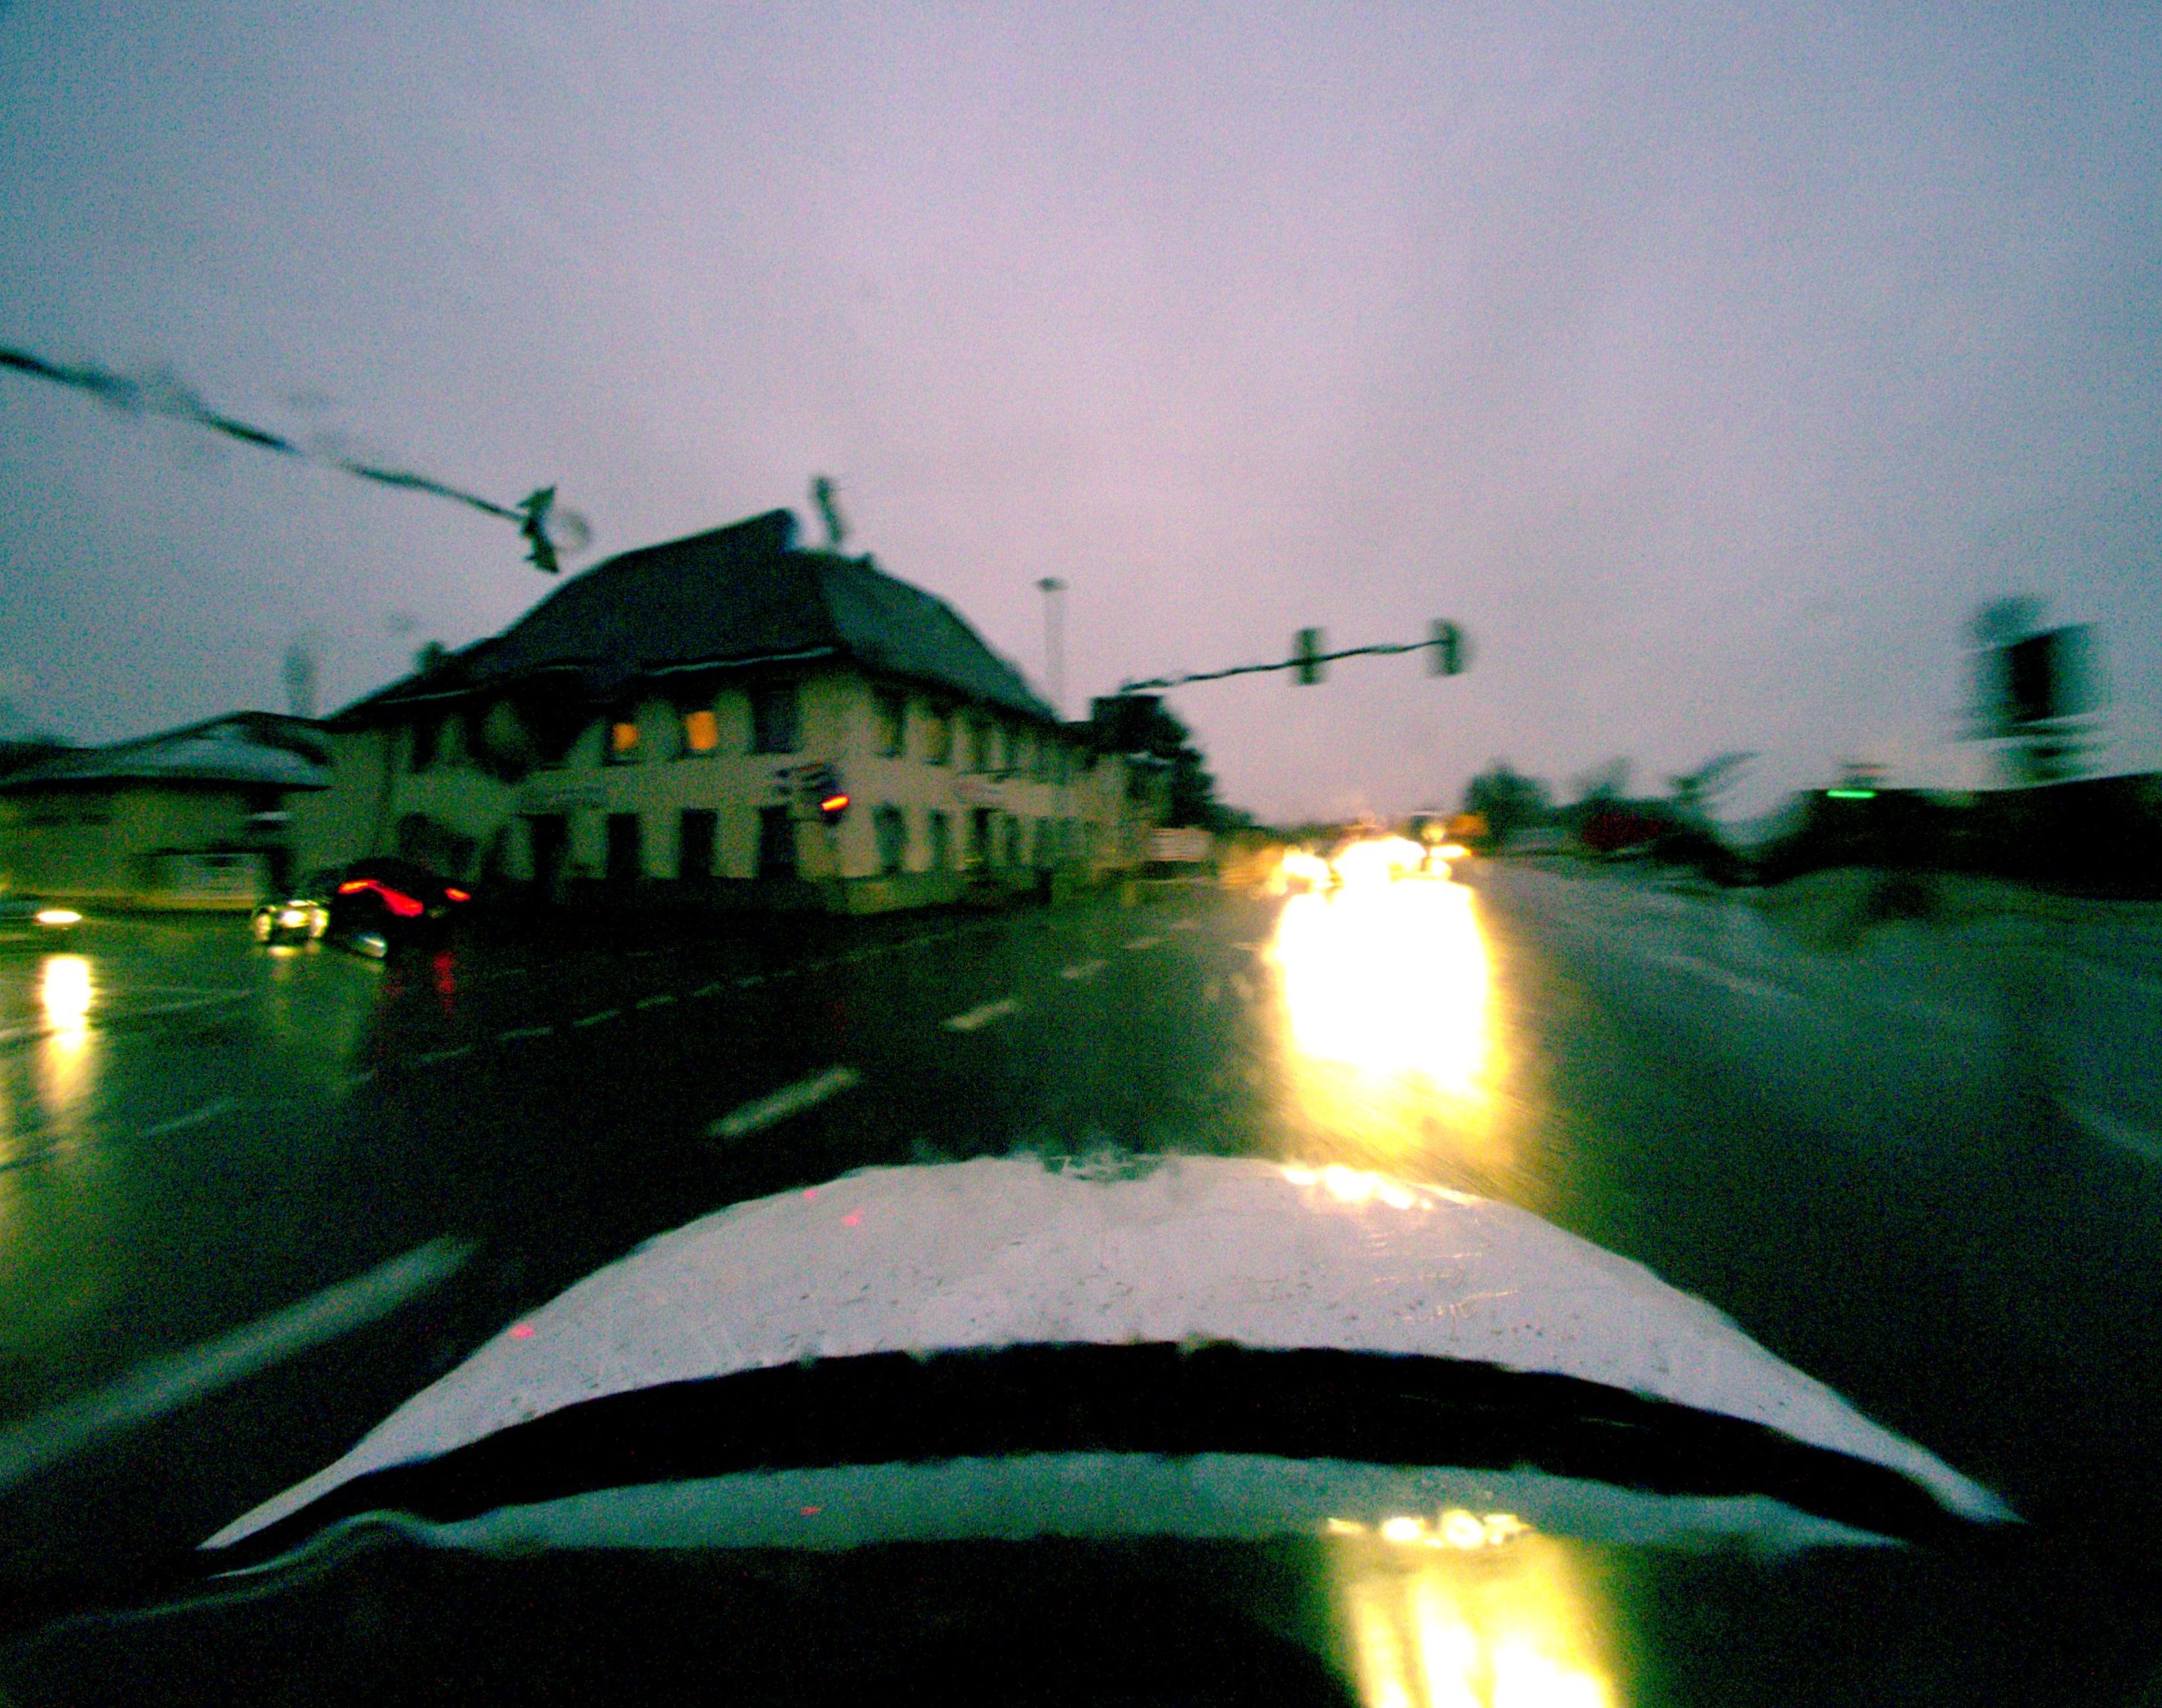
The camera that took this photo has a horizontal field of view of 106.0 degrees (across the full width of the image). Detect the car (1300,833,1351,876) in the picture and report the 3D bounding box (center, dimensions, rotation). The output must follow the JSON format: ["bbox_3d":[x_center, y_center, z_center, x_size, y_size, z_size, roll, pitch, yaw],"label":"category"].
[{"bbox_3d":[10.917,-0.009,36.195,1.811,1.769,3.773,-1,1,22],"label":"car"}]

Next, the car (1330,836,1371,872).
[{"bbox_3d":[14.086,-0.012,42.508,1.706,1.723,3.949,-2,-1,22],"label":"car"}]

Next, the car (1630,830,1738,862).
[{"bbox_3d":[33.384,-0.438,45.212,4.485,1.530,1.787,-3,0,24],"label":"car"}]

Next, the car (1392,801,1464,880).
[{"bbox_3d":[13.917,-0.561,33.014,2.381,2.892,6.282,1,1,20],"label":"car"}]

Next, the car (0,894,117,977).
[{"bbox_3d":[-21.811,1.573,16.200,4.471,1.394,1.896,-1,1,19],"label":"car"}]

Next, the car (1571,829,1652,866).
[{"bbox_3d":[32.333,-0.383,49.745,3.949,2.013,2.013,-3,0,29],"label":"car"}]

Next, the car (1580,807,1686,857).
[{"bbox_3d":[35.228,-1.369,52.091,5.216,2.870,1.783,-3,0,13],"label":"car"}]

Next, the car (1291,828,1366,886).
[{"bbox_3d":[8.470,0.063,27.650,1.976,1.746,4.022,-2,0,23],"label":"car"}]

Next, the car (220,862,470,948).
[{"bbox_3d":[-15.587,1.057,17.267,4.646,1.573,2.065,-2,0,22],"label":"car"}]
